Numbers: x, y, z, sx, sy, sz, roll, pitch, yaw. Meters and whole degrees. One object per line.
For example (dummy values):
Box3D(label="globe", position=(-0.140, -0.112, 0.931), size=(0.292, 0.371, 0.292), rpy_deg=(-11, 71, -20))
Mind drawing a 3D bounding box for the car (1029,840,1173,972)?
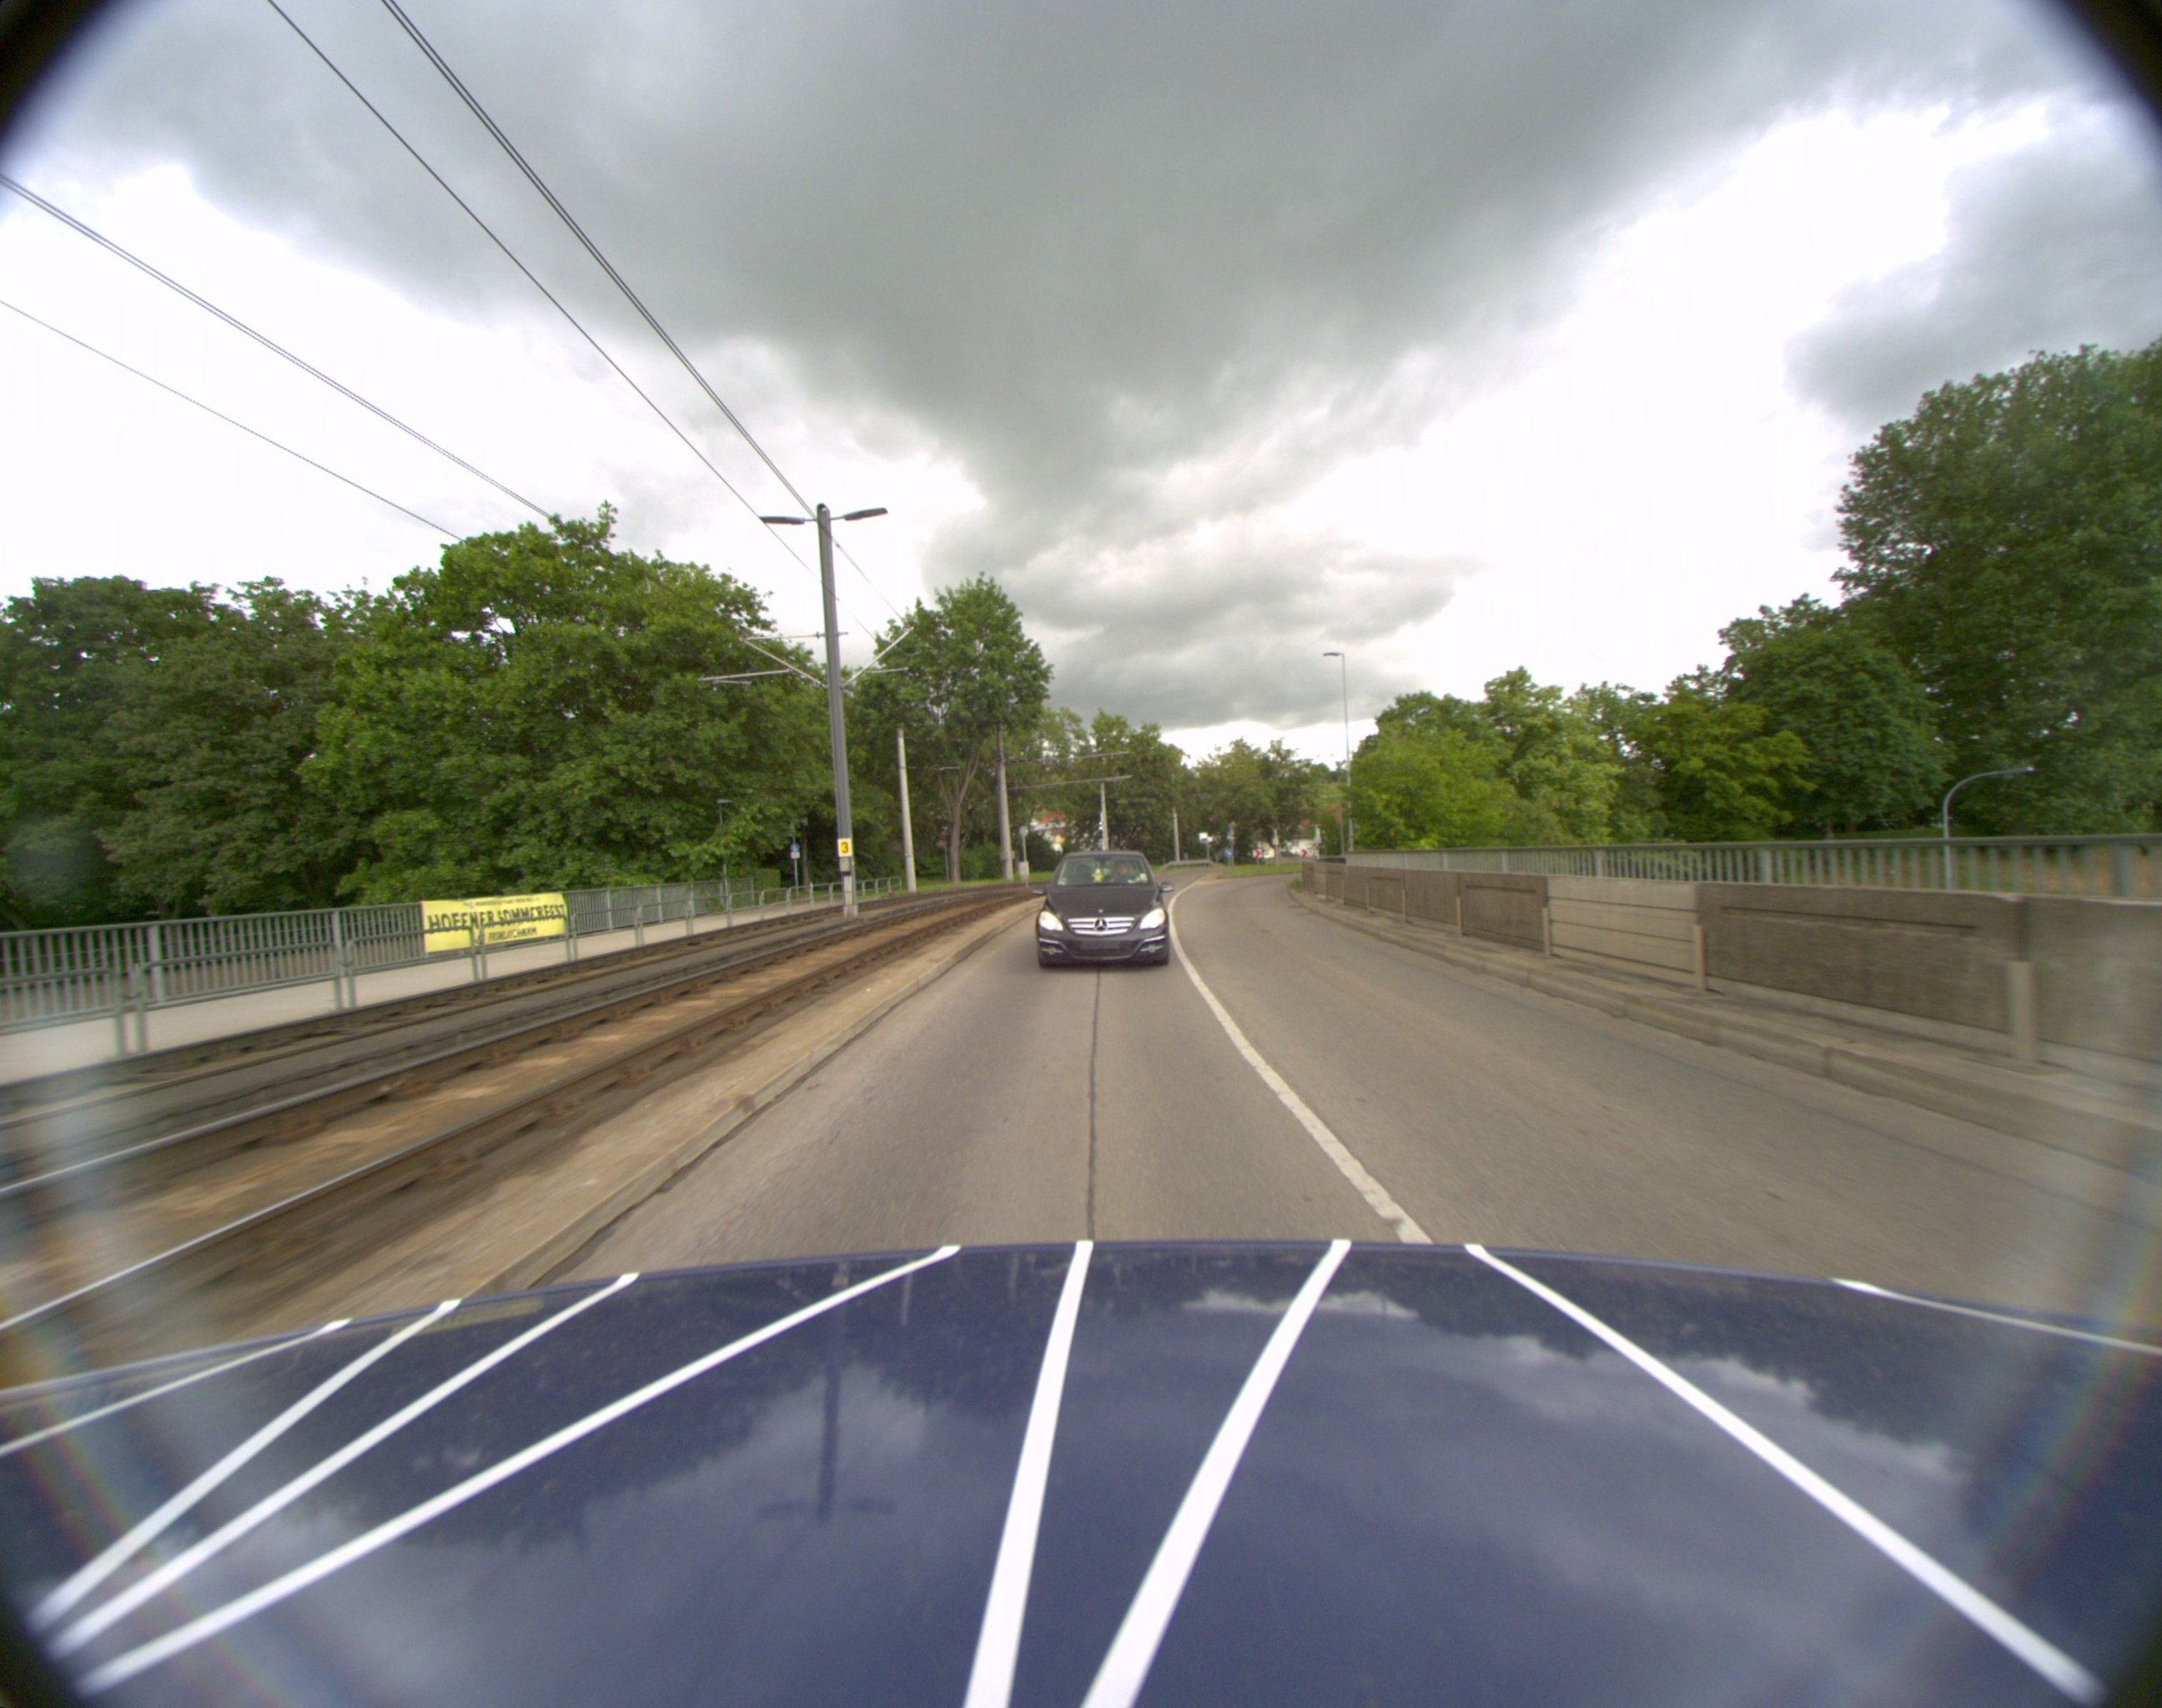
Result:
Box3D(label="car", position=(0.452, 0.613, 11.553), size=(1.711, 1.574, 4.443), rpy_deg=(-2, 1, 5))
